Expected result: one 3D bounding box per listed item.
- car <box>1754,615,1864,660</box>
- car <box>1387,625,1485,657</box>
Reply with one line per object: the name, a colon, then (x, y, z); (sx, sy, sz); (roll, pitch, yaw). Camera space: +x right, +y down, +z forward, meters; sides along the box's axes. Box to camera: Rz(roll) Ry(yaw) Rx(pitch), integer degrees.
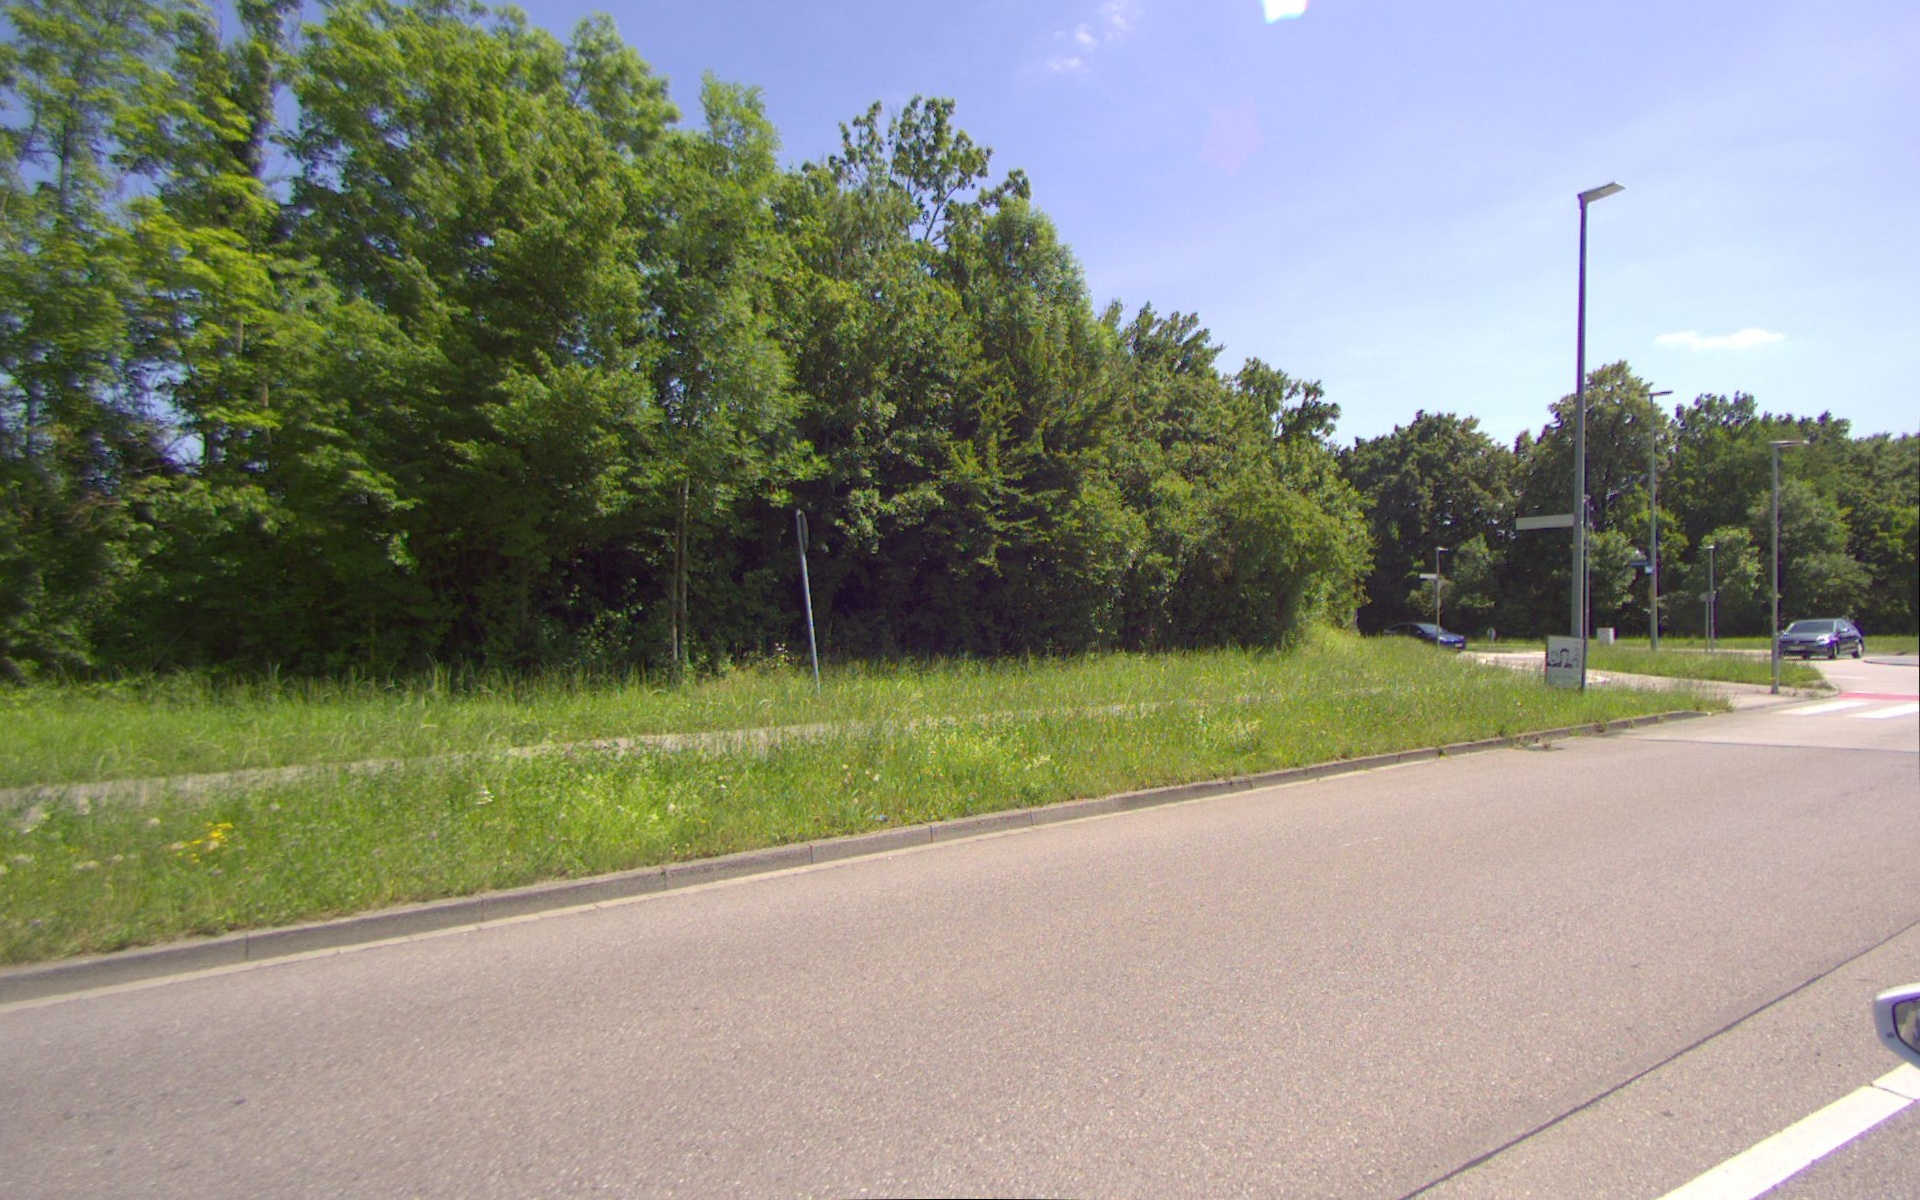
car: (30.937, 1.342, 36.572); (4.245, 1.498, 1.981); (0, -2, -34)
car: (24.654, 2.085, 52.203); (1.930, 1.514, 4.539); (1, -1, -21)
